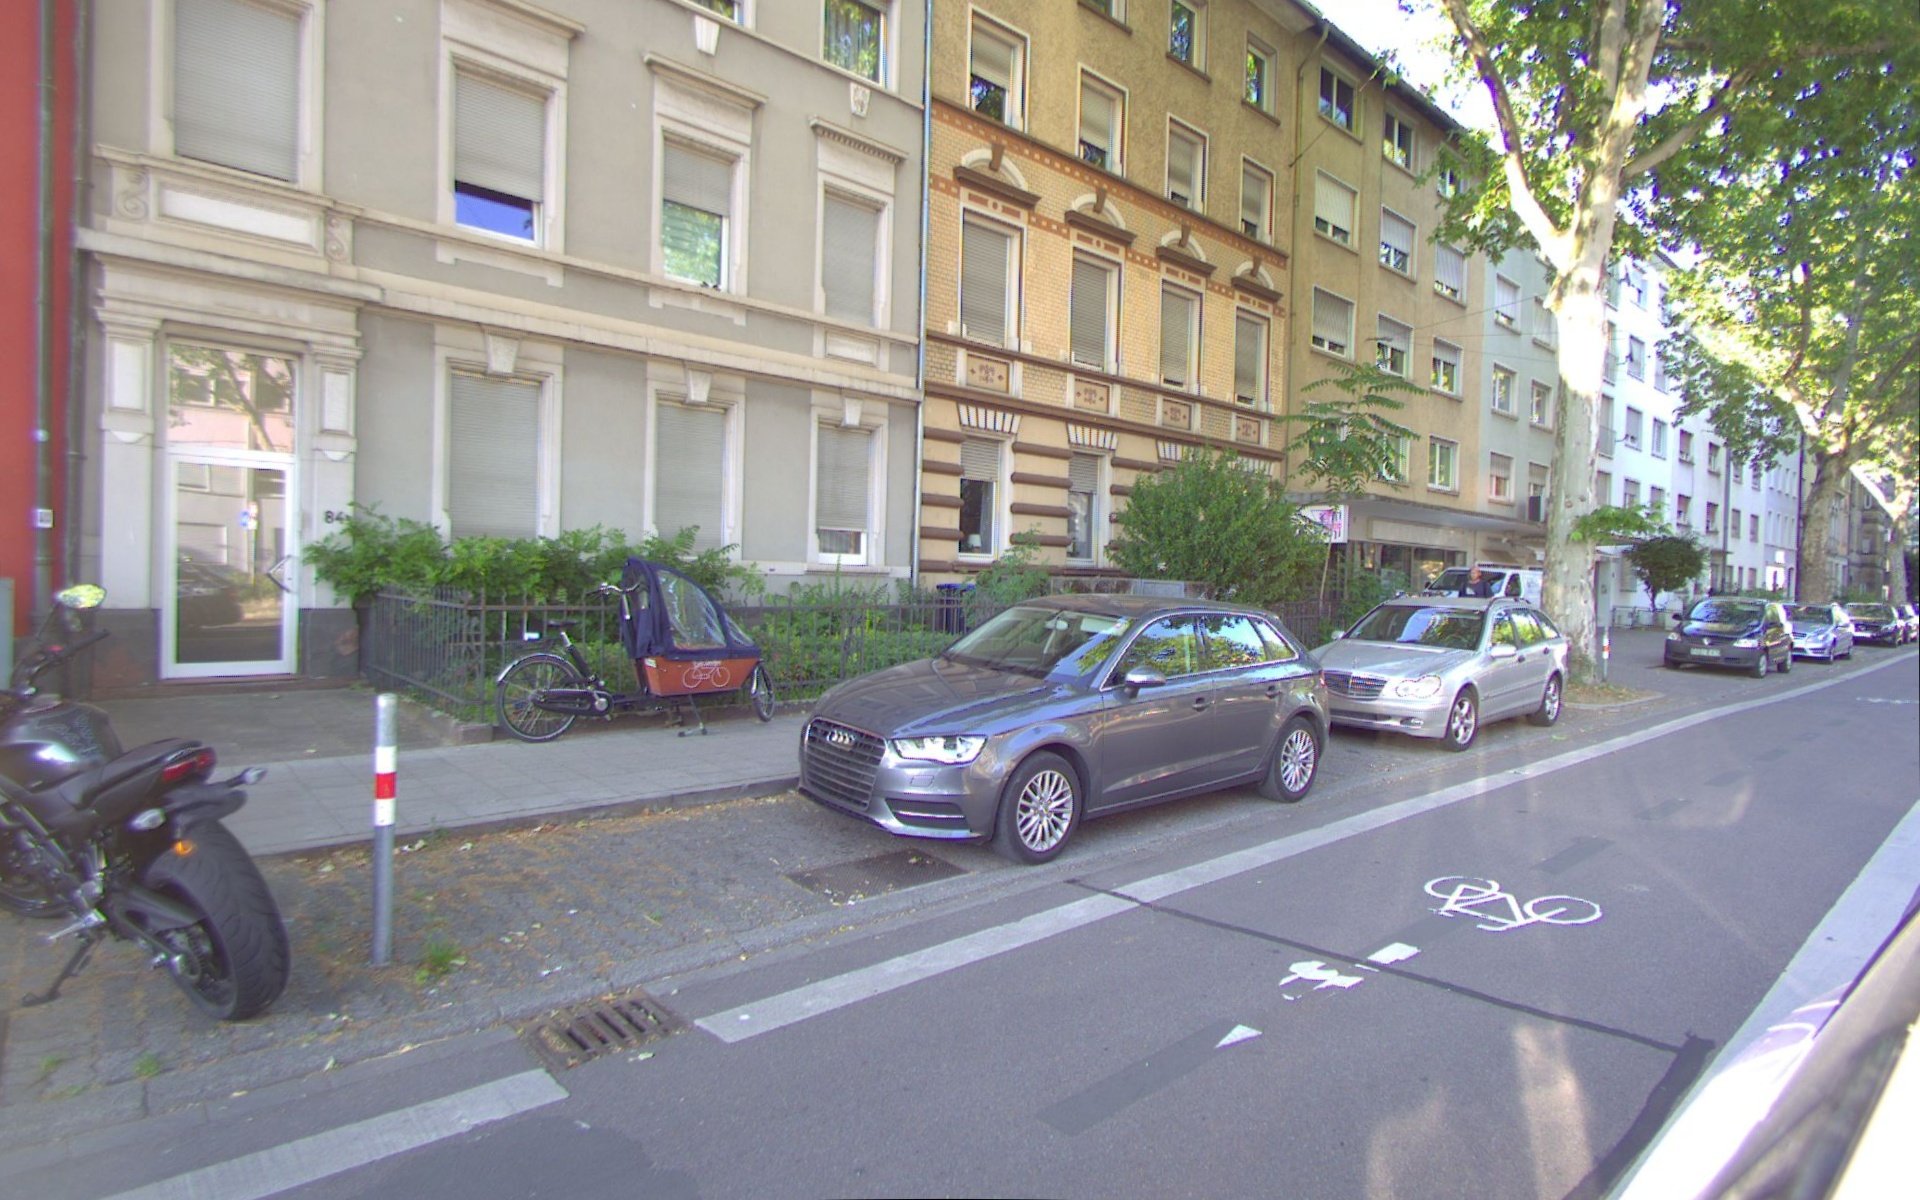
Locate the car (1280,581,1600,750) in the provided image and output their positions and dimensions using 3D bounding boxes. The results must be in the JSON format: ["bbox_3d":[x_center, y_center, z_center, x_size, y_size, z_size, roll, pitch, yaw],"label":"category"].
[{"bbox_3d":[5.461,0.567,11.214,4.494,1.469,1.676,0,2,-43],"label":"car"}]

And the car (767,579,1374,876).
[{"bbox_3d":[0.974,0.610,6.986,4.245,1.414,1.714,0,2,-41],"label":"car"}]

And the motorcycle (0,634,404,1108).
[{"bbox_3d":[-3.023,0.762,3.578,2.193,1.076,0.760,4,2,28],"label":"motorcycle"}]

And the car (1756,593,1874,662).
[{"bbox_3d":[21.997,0.629,25.965,4.695,1.561,1.697,0,2,-42],"label":"car"}]

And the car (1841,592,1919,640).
[{"bbox_3d":[31.665,0.508,34.617,4.289,1.432,1.712,0,4,-42],"label":"car"}]

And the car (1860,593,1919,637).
[{"bbox_3d":[35.191,0.519,37.886,4.289,1.432,1.712,0,4,-42],"label":"car"}]

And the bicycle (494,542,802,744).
[{"bbox_3d":[-2.461,0.301,8.239,2.354,1.445,0.608,0,0,-41],"label":"bicycle"}]

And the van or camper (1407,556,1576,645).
[{"bbox_3d":[13.177,-0.021,24.923,5.299,1.946,1.945,0,2,-42],"label":"van or camper"}]

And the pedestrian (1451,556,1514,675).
[{"bbox_3d":[9.281,0.259,17.971,0.995,2.038,0.683,0,1,-44],"label":"pedestrian"}]

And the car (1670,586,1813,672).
[{"bbox_3d":[16.244,0.528,20.970,3.932,1.564,1.656,0,2,-42],"label":"car"}]
